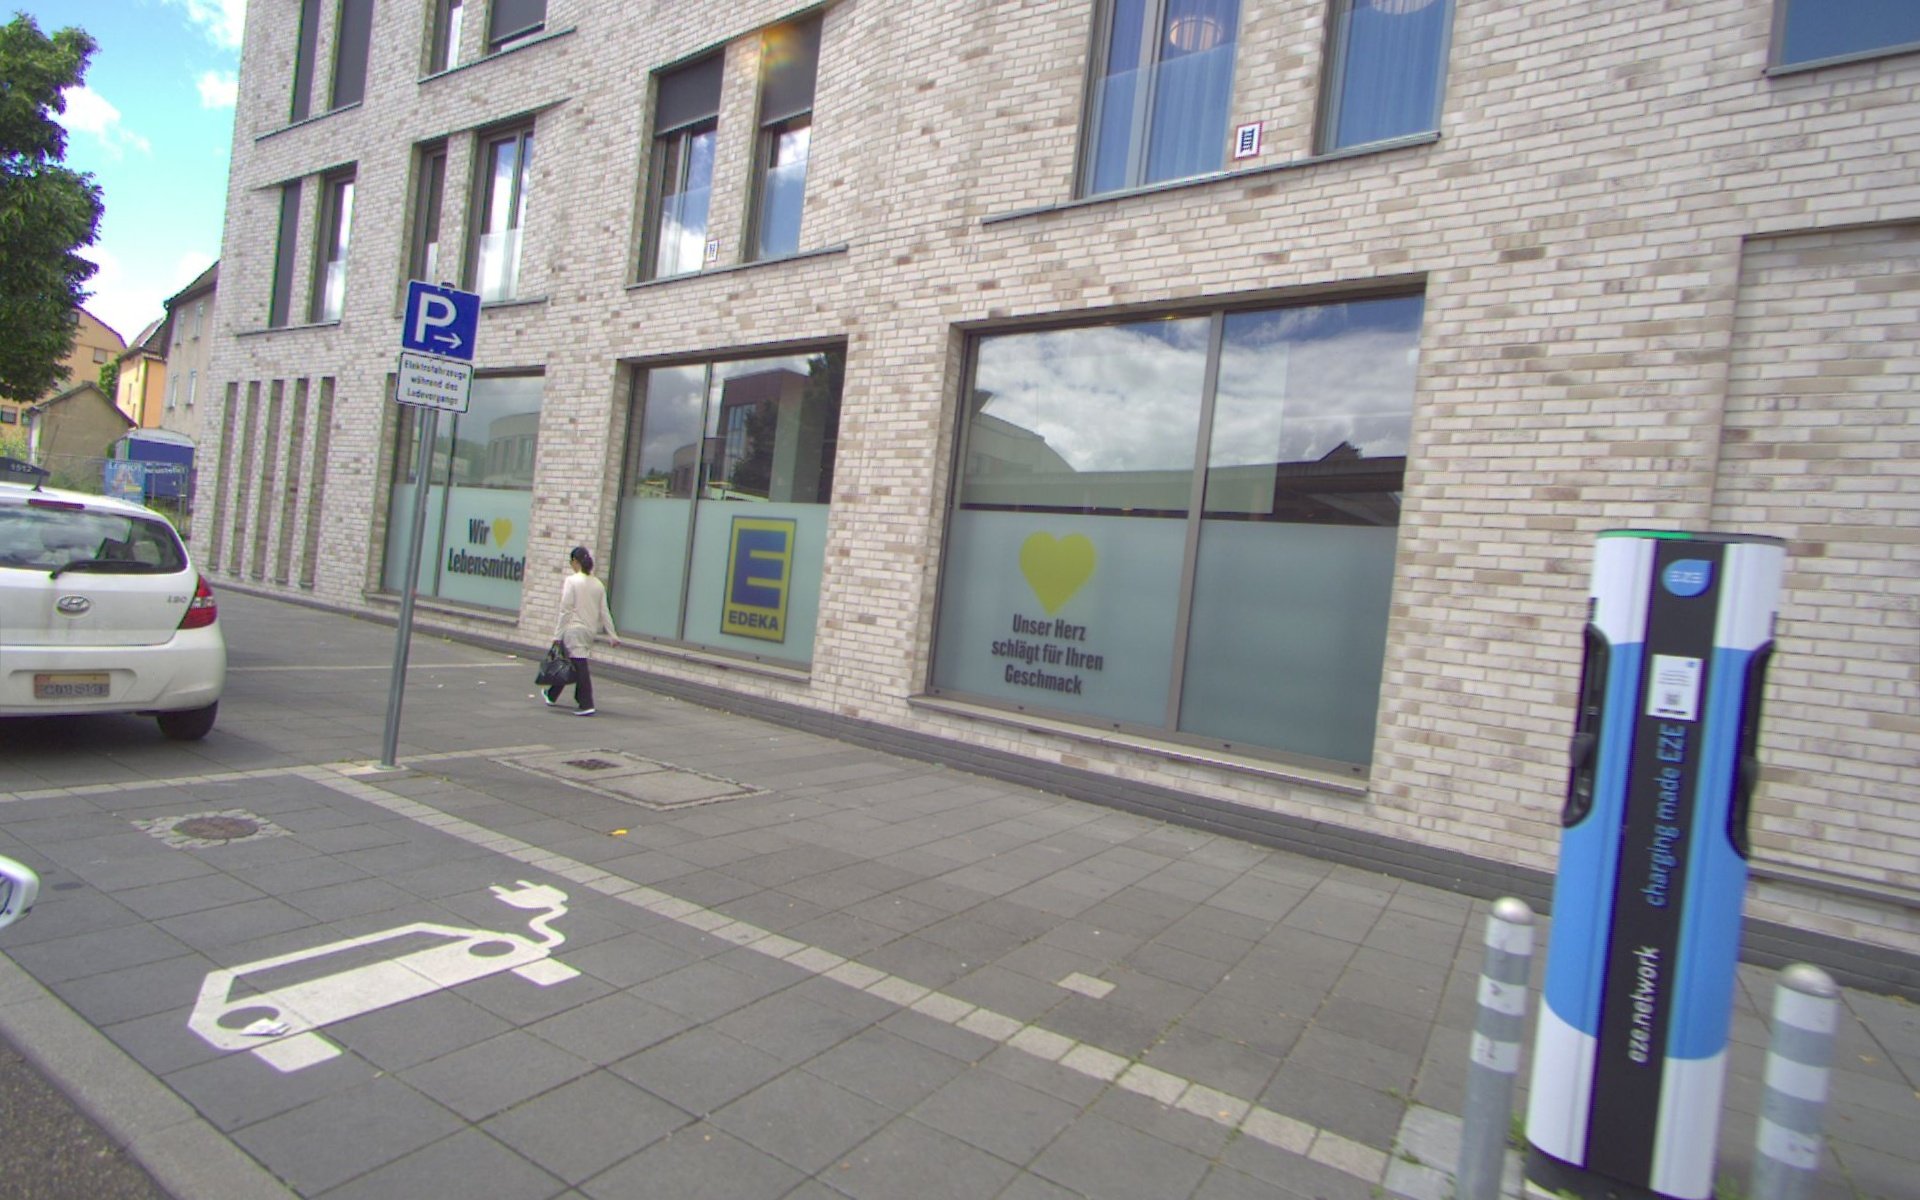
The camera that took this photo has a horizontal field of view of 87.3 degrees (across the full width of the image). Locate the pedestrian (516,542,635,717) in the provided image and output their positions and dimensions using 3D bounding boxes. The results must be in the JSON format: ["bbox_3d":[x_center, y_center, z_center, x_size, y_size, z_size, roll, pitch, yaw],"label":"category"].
[{"bbox_3d":[-3.555,0.263,9.293,0.779,1.492,0.606,8,3,40],"label":"pedestrian"}]

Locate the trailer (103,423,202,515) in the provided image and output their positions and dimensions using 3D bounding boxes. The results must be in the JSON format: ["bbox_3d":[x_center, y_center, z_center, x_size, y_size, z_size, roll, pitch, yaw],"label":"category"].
[{"bbox_3d":[-32.942,-5.262,40.934,2.396,3.163,6.081,4,2,-45],"label":"trailer"}]

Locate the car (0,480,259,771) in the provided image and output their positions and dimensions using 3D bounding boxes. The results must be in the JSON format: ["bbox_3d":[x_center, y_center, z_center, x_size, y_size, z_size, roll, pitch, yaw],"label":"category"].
[{"bbox_3d":[-6.318,-0.032,6.441,3.736,1.503,1.693,7,2,34],"label":"car"}]
